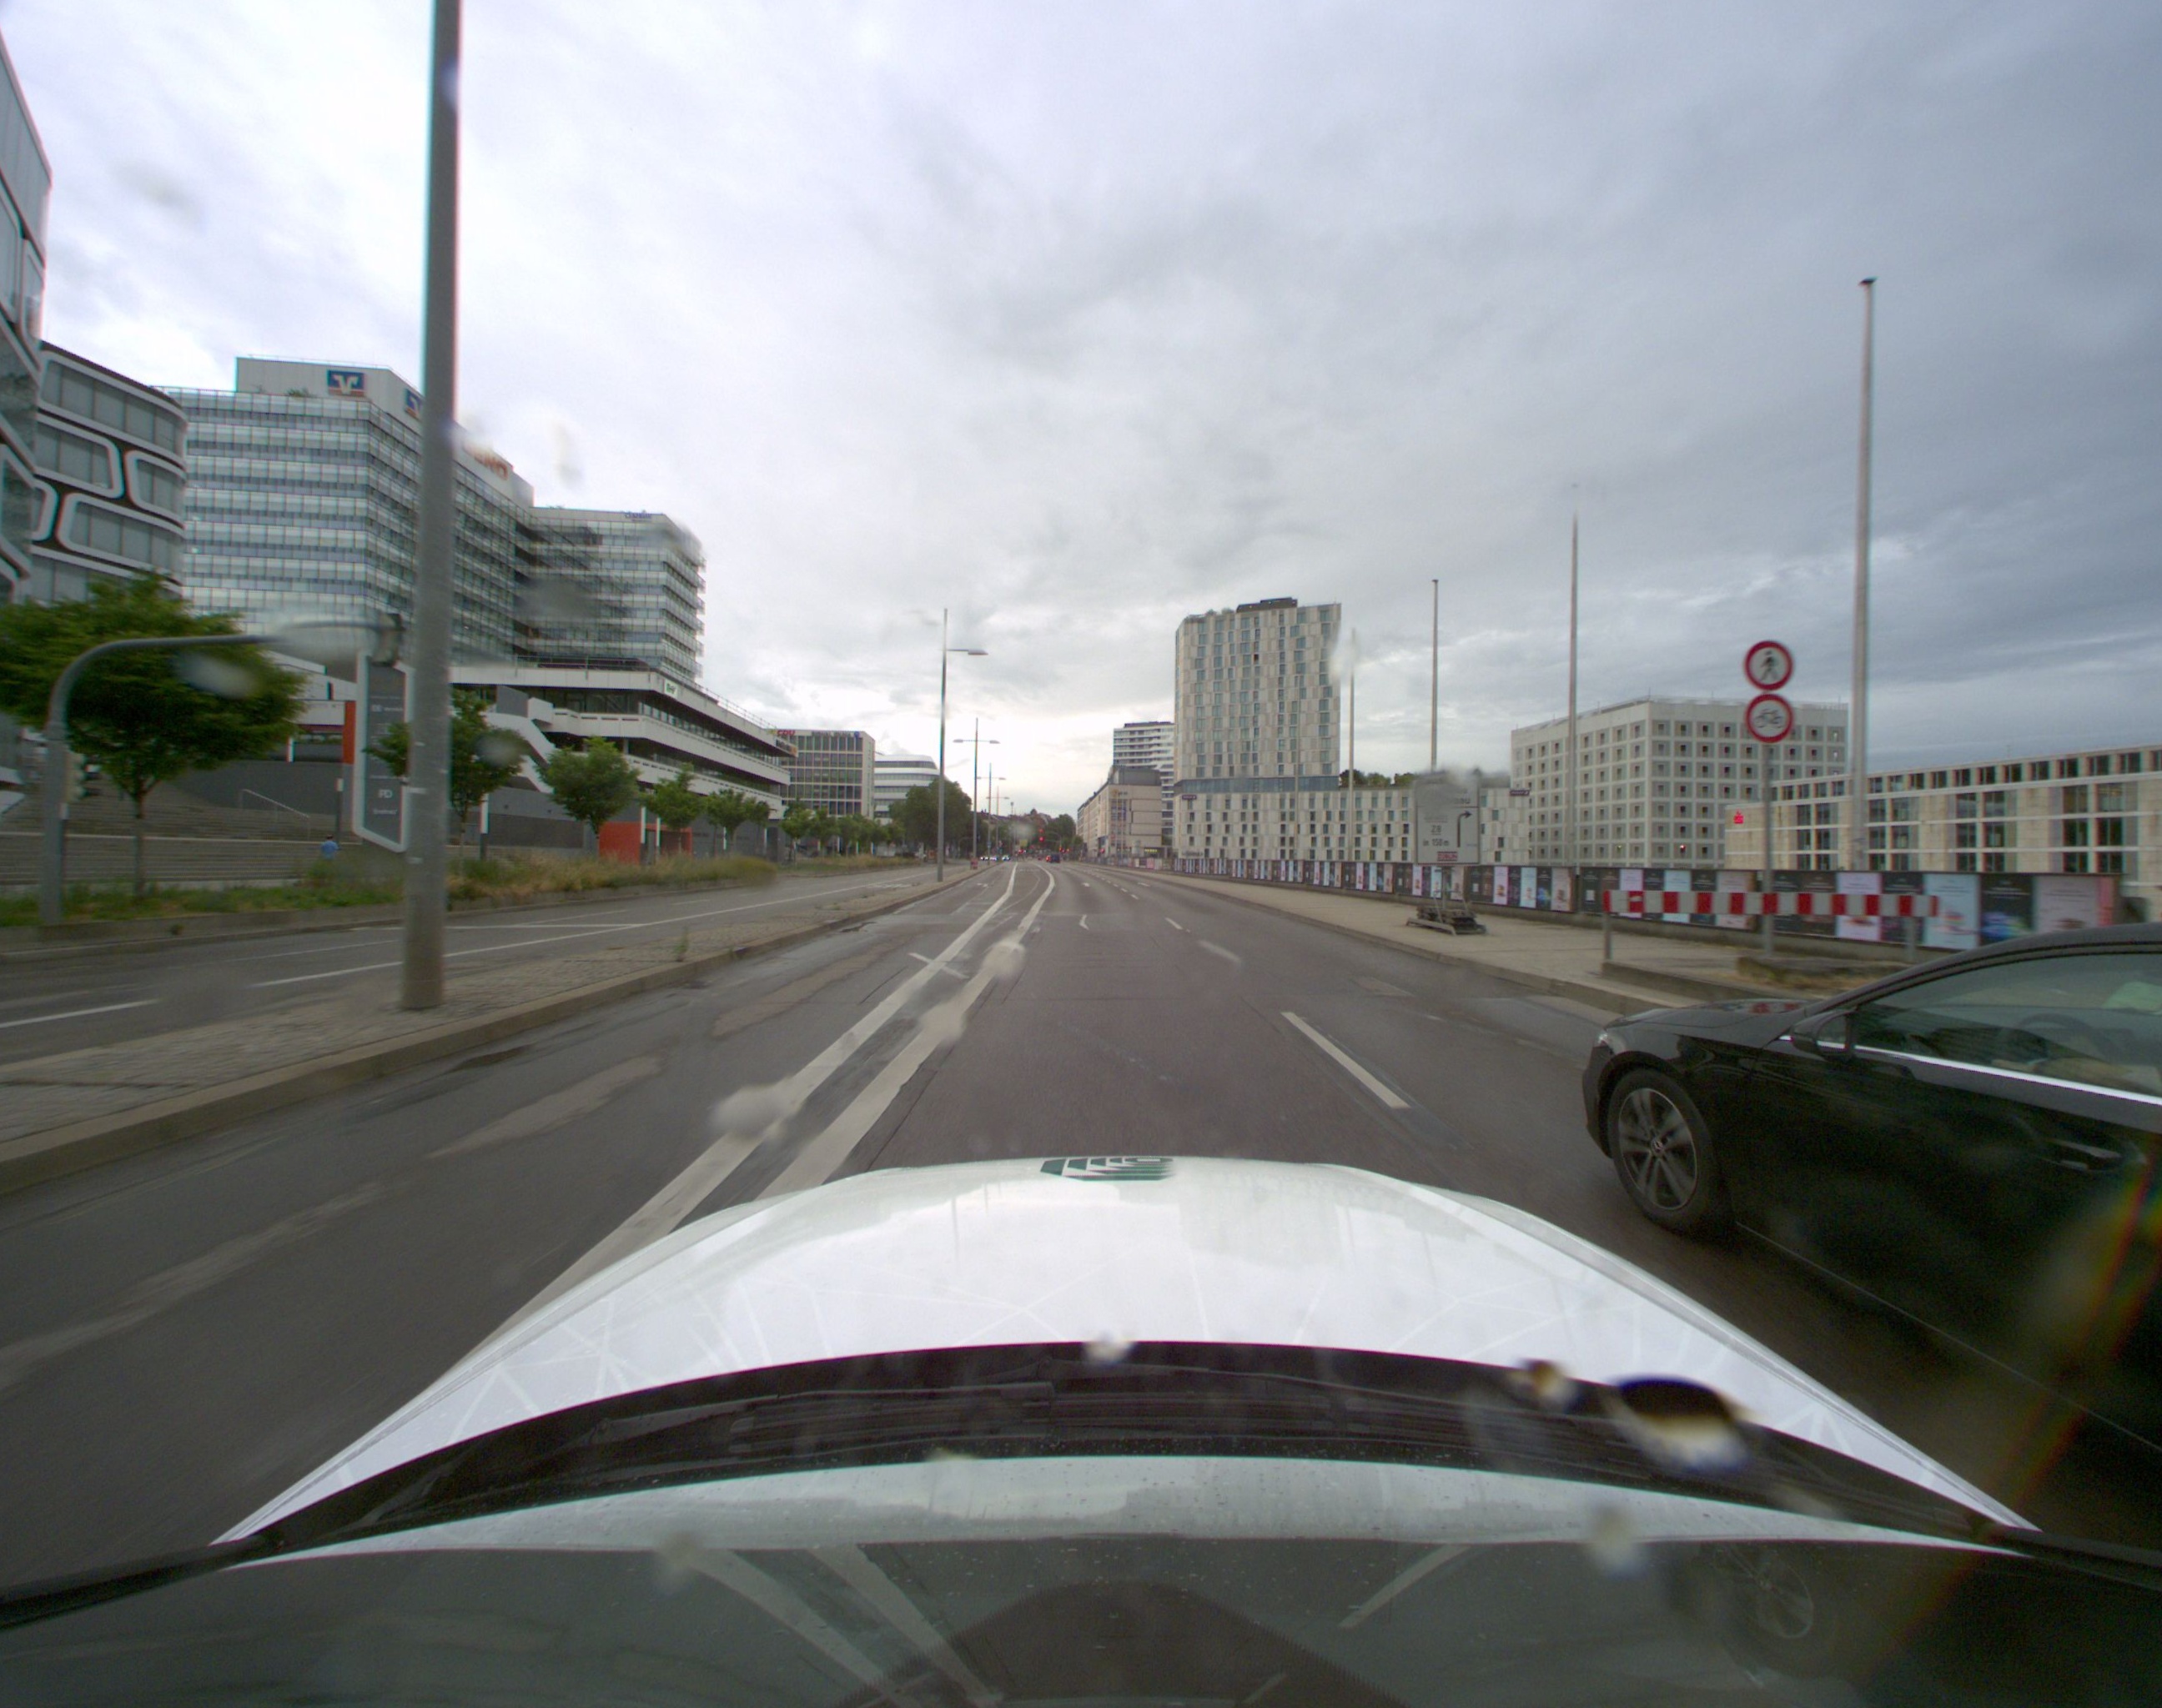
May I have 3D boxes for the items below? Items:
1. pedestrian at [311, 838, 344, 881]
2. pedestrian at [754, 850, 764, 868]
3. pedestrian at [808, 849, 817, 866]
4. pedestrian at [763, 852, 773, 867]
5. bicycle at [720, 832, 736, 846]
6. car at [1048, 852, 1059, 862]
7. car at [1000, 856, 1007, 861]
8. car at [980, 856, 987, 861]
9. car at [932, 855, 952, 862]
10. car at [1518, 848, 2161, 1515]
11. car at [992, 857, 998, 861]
[{"bbox_3d":[-28.302,0.214,30.588,0.609,1.611,0.639,0,-2,-1],"label":"pedestrian"},{"bbox_3d":[-29.950,0.452,75.726,0.616,1.658,0.797,1,-2,-3],"label":"pedestrian"},{"bbox_3d":[-29.664,0.386,90.087,0.783,1.808,0.627,0,-2,-4],"label":"pedestrian"},{"bbox_3d":[-29.182,0.511,75.858,0.616,1.446,0.797,0,-2,-3],"label":"pedestrian"},{"bbox_3d":[-24.239,-1.005,55.939,0.612,0.857,1.638,1,-2,-37],"label":"bicycle"},{"bbox_3d":[-5.614,0.569,166.631,2.029,1.882,5.034,-2,0,-4],"label":"car"},{"bbox_3d":[-22.519,1.320,236.368,1.740,1.445,3.389,0,-2,-4],"label":"car"},{"bbox_3d":[-28.362,1.347,236.189,1.740,1.328,4.218,0,-2,-4],"label":"car"},{"bbox_3d":[-35.760,1.145,209.350,4.472,1.631,1.900,0,-2,11],"label":"car"},{"bbox_3d":[3.100,0.688,2.157,1.717,1.376,4.155,0,-2,1],"label":"car"},{"bbox_3d":[-25.004,1.379,237.086,1.740,1.257,3.534,1,0,-4],"label":"car"}]
